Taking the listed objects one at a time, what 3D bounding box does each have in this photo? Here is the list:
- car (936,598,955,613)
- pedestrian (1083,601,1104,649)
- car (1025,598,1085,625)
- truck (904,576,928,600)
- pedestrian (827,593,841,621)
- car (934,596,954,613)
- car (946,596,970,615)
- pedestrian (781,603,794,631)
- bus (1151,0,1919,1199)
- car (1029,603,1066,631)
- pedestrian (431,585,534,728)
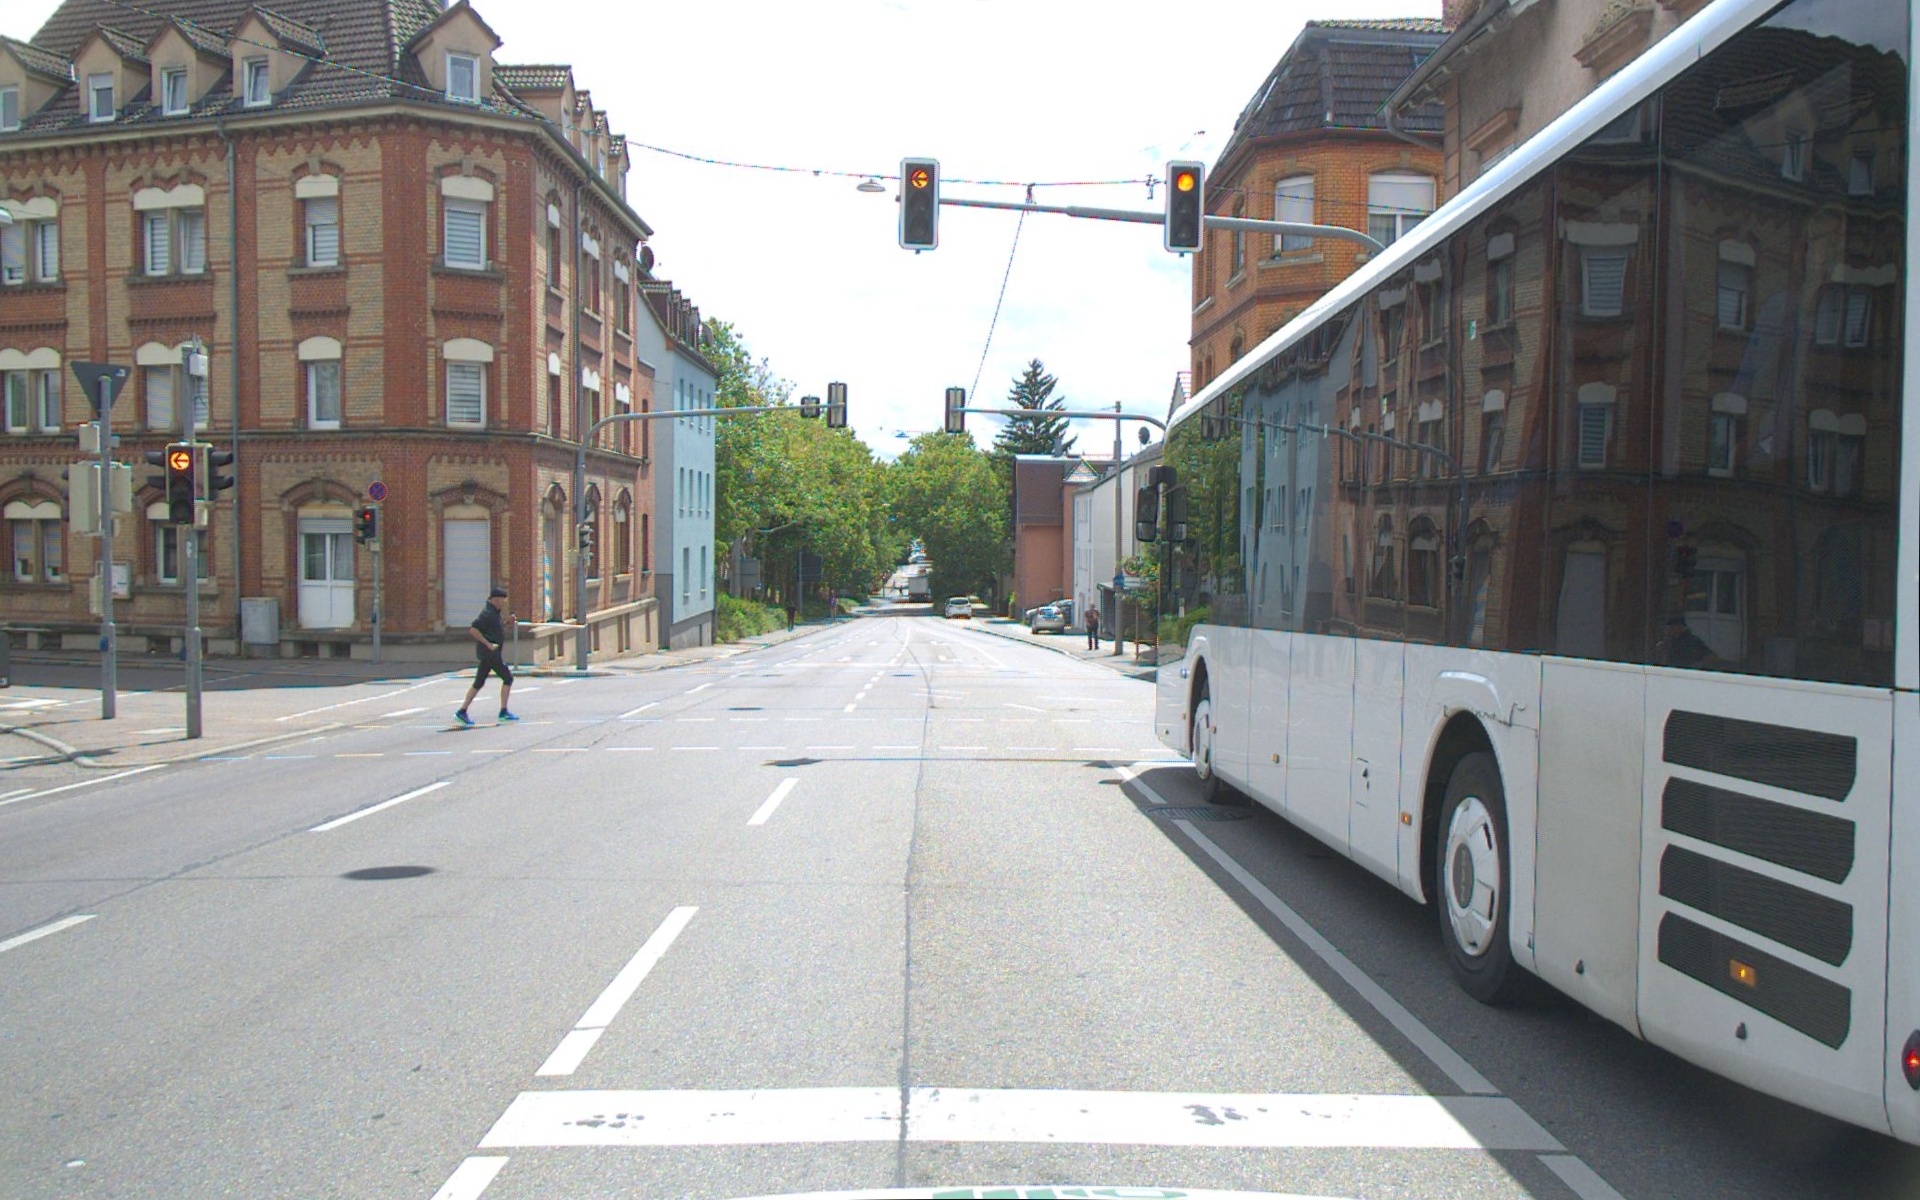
[{"bbox_3d":[-1.334,0.514,153.899,1.757,1.434,4.418,1,0,0],"label":"car"},{"bbox_3d":[5.070,0.952,62.838,0.723,1.781,0.619,-1,0,-1],"label":"pedestrian"},{"bbox_3d":[6.489,0.779,113.252,3.909,1.788,1.998,-1,0,-6],"label":"car"},{"bbox_3d":[-5.744,-1.556,216.392,2.868,3.135,7.881,-1,0,-3],"label":"truck"},{"bbox_3d":[-9.474,0.517,124.354,0.974,2.049,1.188,0,0,-1],"label":"pedestrian"},{"bbox_3d":[-1.403,0.405,146.254,1.757,1.434,4.418,1,0,0],"label":"car"},{"bbox_3d":[-0.172,0.455,129.471,1.758,1.434,3.999,1,0,-2],"label":"car"},{"bbox_3d":[-9.702,0.939,93.079,0.714,1.592,0.560,0,0,-2],"label":"pedestrian"},{"bbox_3d":[3.170,-0.139,9.236,2.618,3.211,12.459,0,0,-1],"label":"bus"},{"bbox_3d":[4.915,0.946,93.126,1.758,1.434,3.999,-1,1,-2],"label":"car"},{"bbox_3d":[-6.007,0.697,20.860,1.118,1.765,0.758,0,0,-5],"label":"pedestrian"}]
